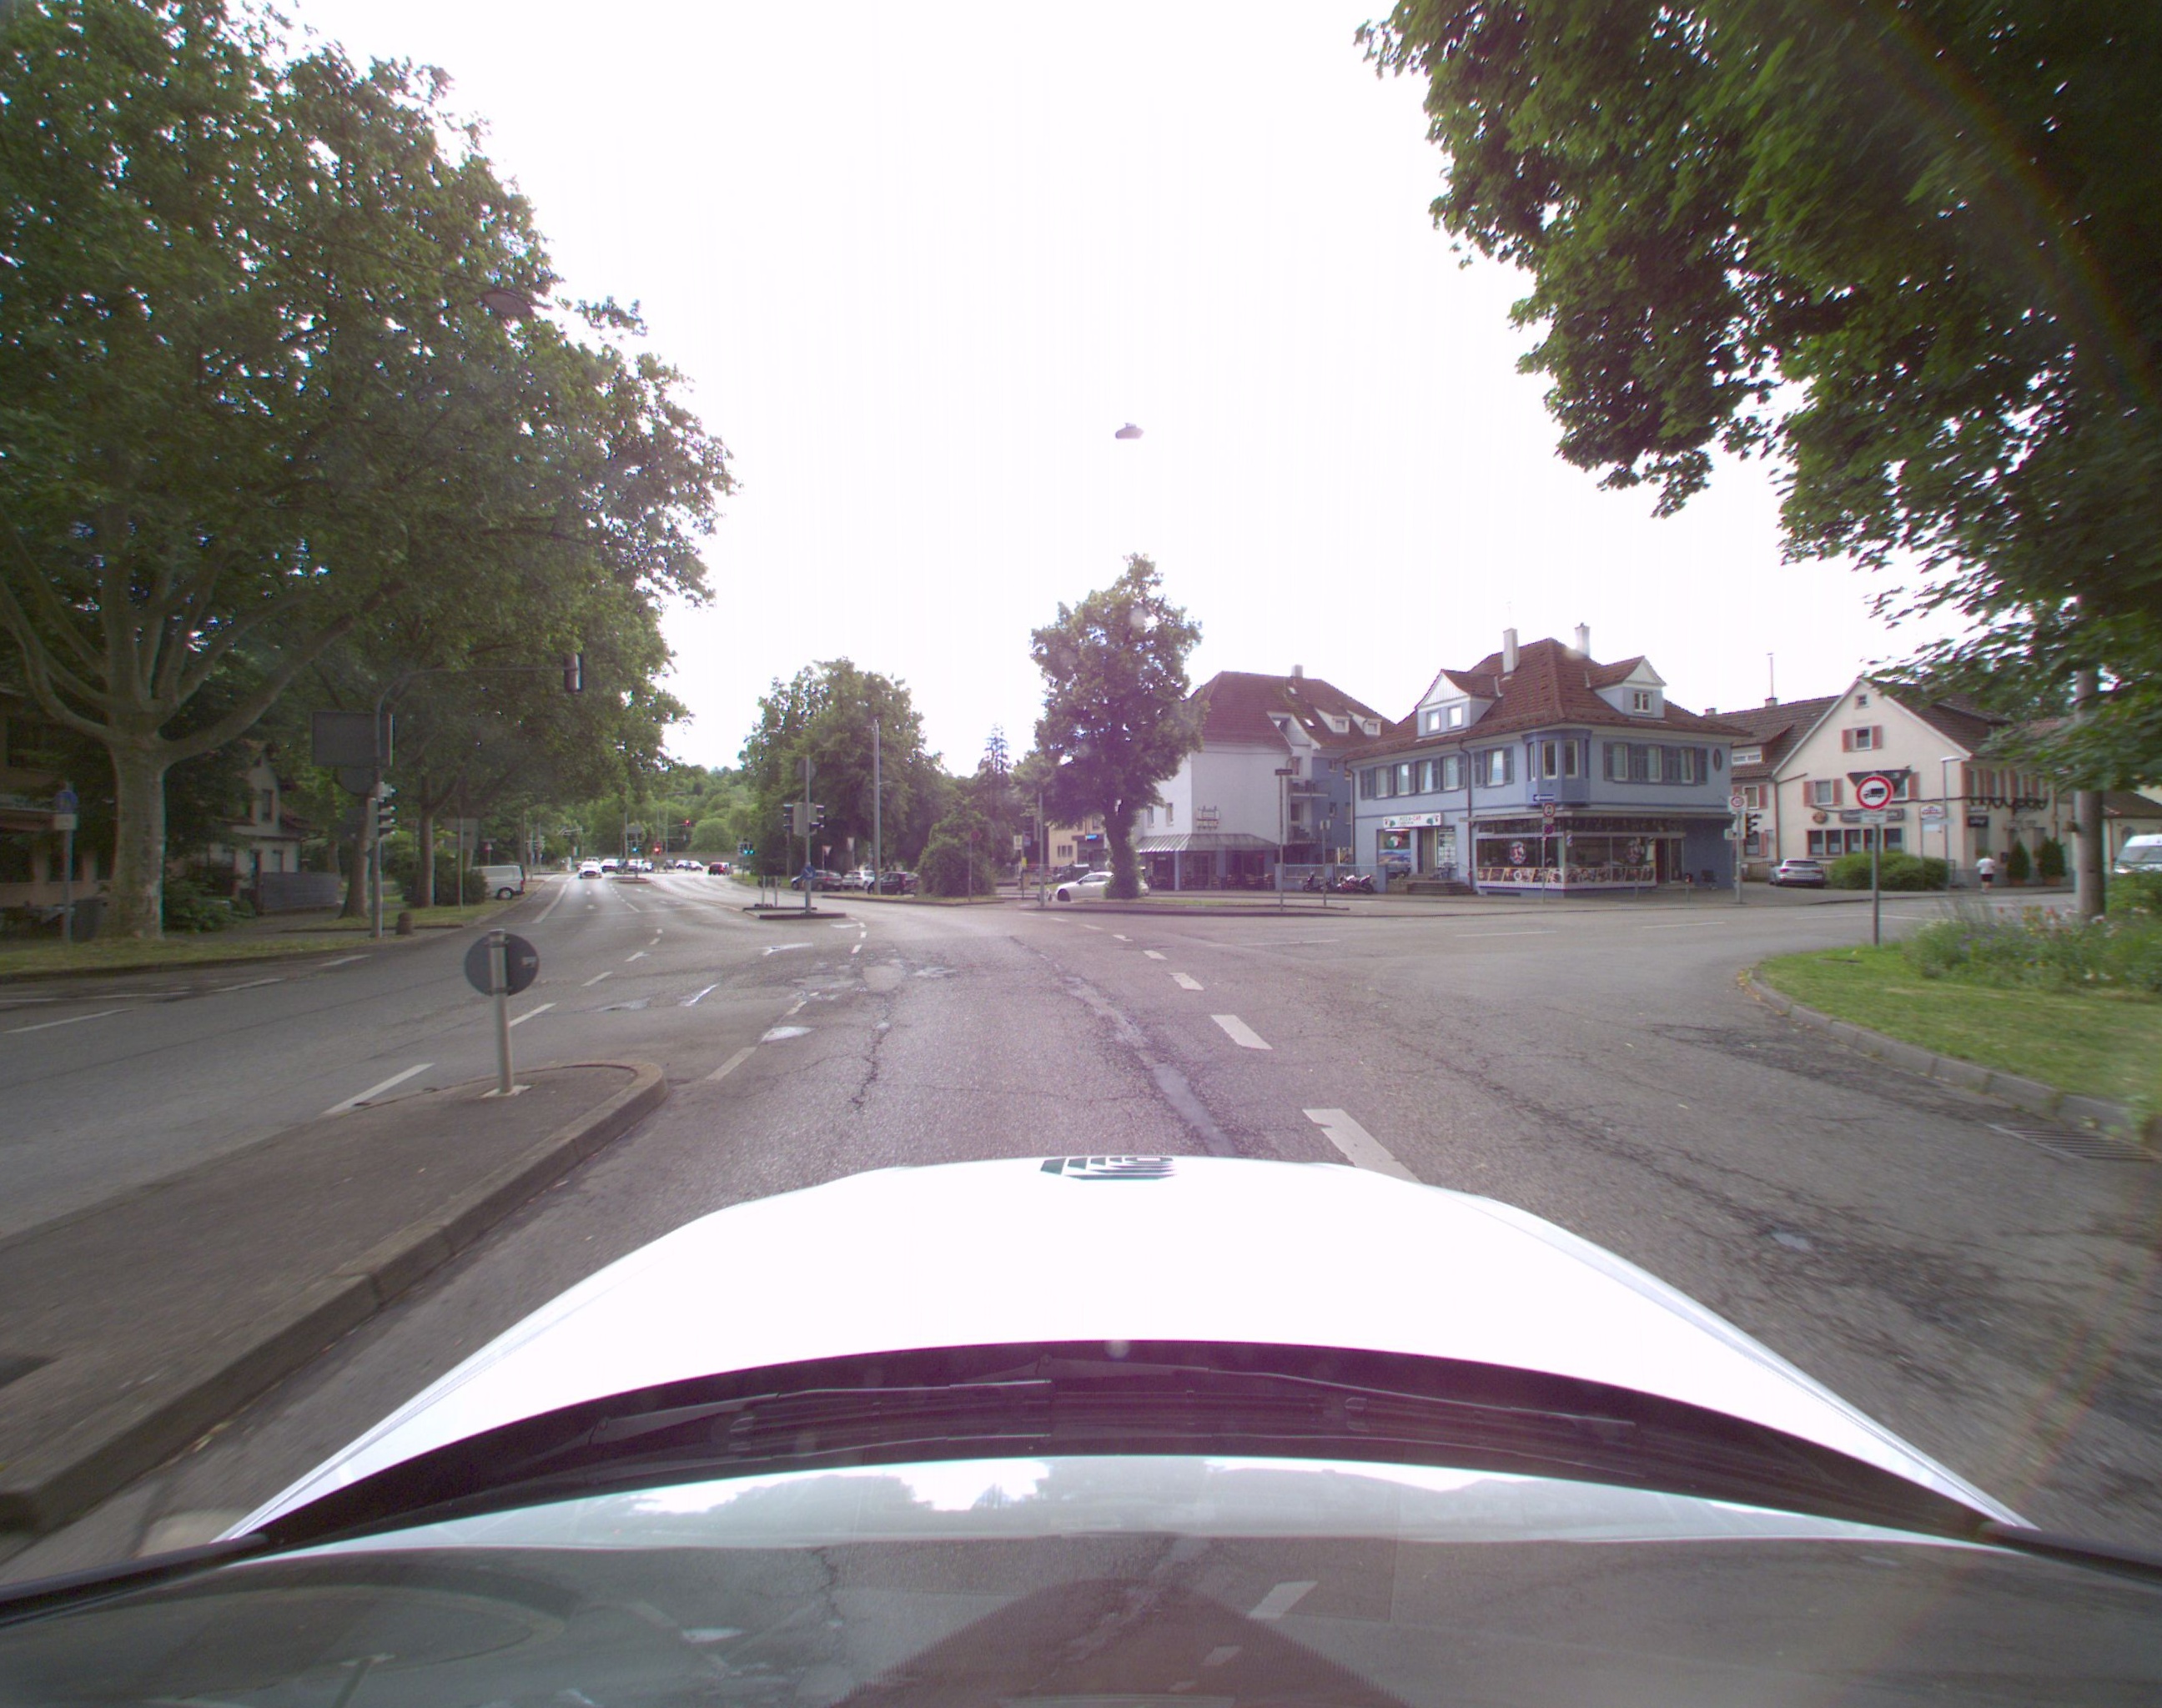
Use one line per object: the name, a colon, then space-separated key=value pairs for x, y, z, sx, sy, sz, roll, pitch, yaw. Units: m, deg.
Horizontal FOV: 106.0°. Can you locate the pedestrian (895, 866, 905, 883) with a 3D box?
pedestrian: x=-16.237 y=1.823 z=73.092 sx=0.687 sy=1.551 sz=0.736 roll=0 pitch=0 yaw=-26

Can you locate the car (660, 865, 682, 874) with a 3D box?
car: x=-68.216 y=2.620 z=135.565 sx=3.060 sy=1.239 sz=1.431 roll=1 pitch=12 yaw=-16

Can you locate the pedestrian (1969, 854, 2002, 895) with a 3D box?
pedestrian: x=38.499 y=0.857 z=34.669 sx=0.647 sy=1.697 sz=0.751 roll=0 pitch=-1 yaw=-24

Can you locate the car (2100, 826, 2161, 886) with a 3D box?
car: x=45.190 y=0.054 z=33.492 sx=5.960 sy=2.392 sz=2.320 roll=-1 pitch=-1 yaw=-21

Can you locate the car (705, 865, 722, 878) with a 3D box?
car: x=-43.687 y=2.028 z=96.705 sx=1.831 sy=1.509 sz=4.536 roll=-1 pitch=-1 yaw=-25

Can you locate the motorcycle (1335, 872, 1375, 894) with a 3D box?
motorcycle: x=13.082 y=1.378 z=38.928 sx=0.524 sy=0.985 sz=1.801 roll=0 pitch=-1 yaw=-42

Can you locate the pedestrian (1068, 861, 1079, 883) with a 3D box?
pedestrian: x=-0.622 y=1.484 z=66.870 sx=0.690 sy=1.729 sz=0.606 roll=-1 pitch=-1 yaw=-26

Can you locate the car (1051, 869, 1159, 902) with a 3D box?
car: x=1.041 y=1.437 z=37.455 sx=4.726 sy=1.386 sz=2.012 roll=-2 pitch=-1 yaw=40

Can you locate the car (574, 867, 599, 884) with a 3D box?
car: x=-45.162 y=1.947 z=74.449 sx=1.772 sy=1.466 sz=3.984 roll=0 pitch=-2 yaw=-28

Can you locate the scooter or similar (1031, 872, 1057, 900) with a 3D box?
scooter or similar: x=-1.572 y=1.379 z=34.699 sx=0.407 sy=1.167 sz=1.371 roll=-1 pitch=-3 yaw=32

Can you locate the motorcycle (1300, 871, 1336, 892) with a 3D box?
motorcycle: x=11.919 y=1.363 z=40.927 sx=0.492 sy=1.031 sz=1.704 roll=0 pitch=-1 yaw=-42

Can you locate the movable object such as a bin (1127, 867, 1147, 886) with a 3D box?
movable object such as a bin: x=4.256 y=1.695 z=62.034 sx=1.217 sy=1.395 sz=1.155 roll=-1 pitch=-1 yaw=-16

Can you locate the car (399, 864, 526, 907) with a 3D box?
car: x=-33.703 y=1.656 z=44.484 sx=5.274 sy=1.931 sz=2.058 roll=-3 pitch=1 yaw=-44

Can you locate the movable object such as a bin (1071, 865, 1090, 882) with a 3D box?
movable object such as a bin: x=-0.020 y=1.578 z=65.854 sx=1.222 sy=1.345 sz=0.987 roll=-1 pitch=-1 yaw=-26

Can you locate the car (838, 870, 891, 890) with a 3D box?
car: x=-15.993 y=1.866 z=60.416 sx=1.745 sy=1.381 sz=4.281 roll=0 pitch=-1 yaw=18

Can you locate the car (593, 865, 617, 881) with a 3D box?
car: x=-55.050 y=2.168 z=94.242 sx=1.804 sy=1.586 sz=4.382 roll=-3 pitch=2 yaw=-22

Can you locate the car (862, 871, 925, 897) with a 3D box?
car: x=-10.719 y=1.703 z=46.515 sx=3.449 sy=1.404 sz=1.583 roll=0 pitch=0 yaw=34

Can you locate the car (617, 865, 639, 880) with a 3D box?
car: x=-59.052 y=2.398 z=106.272 sx=1.918 sy=1.763 sz=4.718 roll=-1 pitch=0 yaw=-21

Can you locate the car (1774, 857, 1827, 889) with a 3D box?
car: x=35.116 y=0.896 z=39.807 sx=1.551 sy=1.462 sz=3.461 roll=-1 pitch=-1 yaw=36

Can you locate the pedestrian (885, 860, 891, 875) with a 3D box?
pedestrian: x=-21.250 y=1.487 z=89.735 sx=0.512 sy=1.531 sz=0.773 roll=-1 pitch=-1 yaw=-17

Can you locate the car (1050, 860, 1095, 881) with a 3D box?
car: x=-0.706 y=1.343 z=67.889 sx=3.424 sy=1.630 sz=1.614 roll=-1 pitch=-1 yaw=-20

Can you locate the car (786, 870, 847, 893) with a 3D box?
car: x=-18.794 y=1.923 z=57.761 sx=4.061 sy=1.429 sz=1.744 roll=1 pitch=0 yaw=27
